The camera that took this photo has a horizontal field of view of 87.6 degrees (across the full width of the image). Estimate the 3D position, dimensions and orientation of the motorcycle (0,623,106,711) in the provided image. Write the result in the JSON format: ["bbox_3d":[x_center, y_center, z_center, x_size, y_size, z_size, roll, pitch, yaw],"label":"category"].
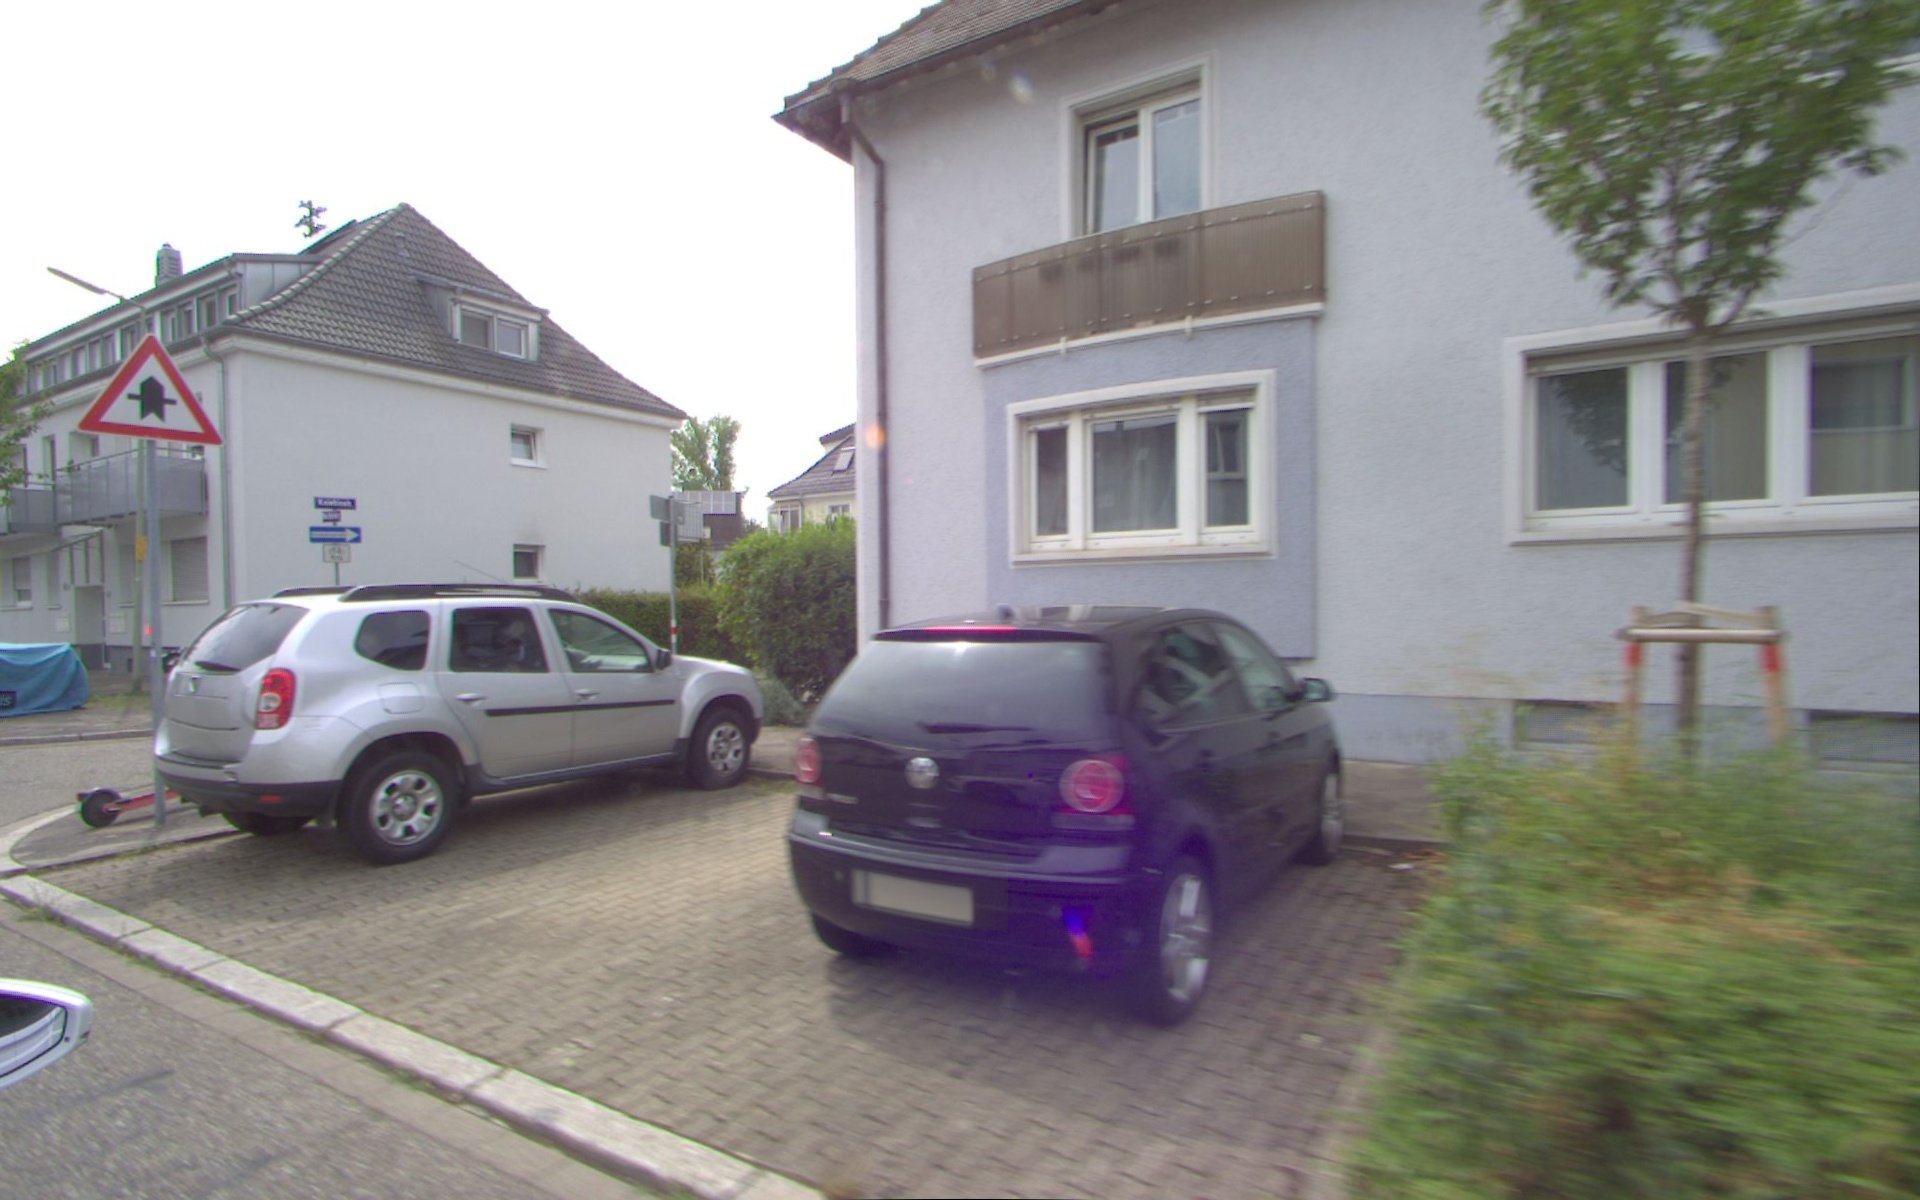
[{"bbox_3d":[-14.089,0.978,14.685,0.926,1.226,2.189,0,0,31],"label":"motorcycle"}]

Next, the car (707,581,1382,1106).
[{"bbox_3d":[0.839,0.677,4.995,1.688,1.441,3.976,0,2,33],"label":"car"}]

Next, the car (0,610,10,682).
[{"bbox_3d":[-22.348,1.058,20.427,1.698,1.539,3.976,0,2,32],"label":"car"}]

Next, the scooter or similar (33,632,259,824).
[{"bbox_3d":[-6.092,0.910,7.567,0.415,1.260,1.239,-1,2,20],"label":"scooter or similar"}]

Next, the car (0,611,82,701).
[{"bbox_3d":[-16.421,0.948,15.622,1.748,1.384,3.736,0,2,33],"label":"car"}]

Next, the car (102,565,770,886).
[{"bbox_3d":[-3.443,0.606,7.349,1.841,1.655,3.914,0,2,32],"label":"car"}]

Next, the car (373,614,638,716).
[{"bbox_3d":[-7.530,1.003,16.923,1.640,1.462,3.793,0,0,33],"label":"car"}]
